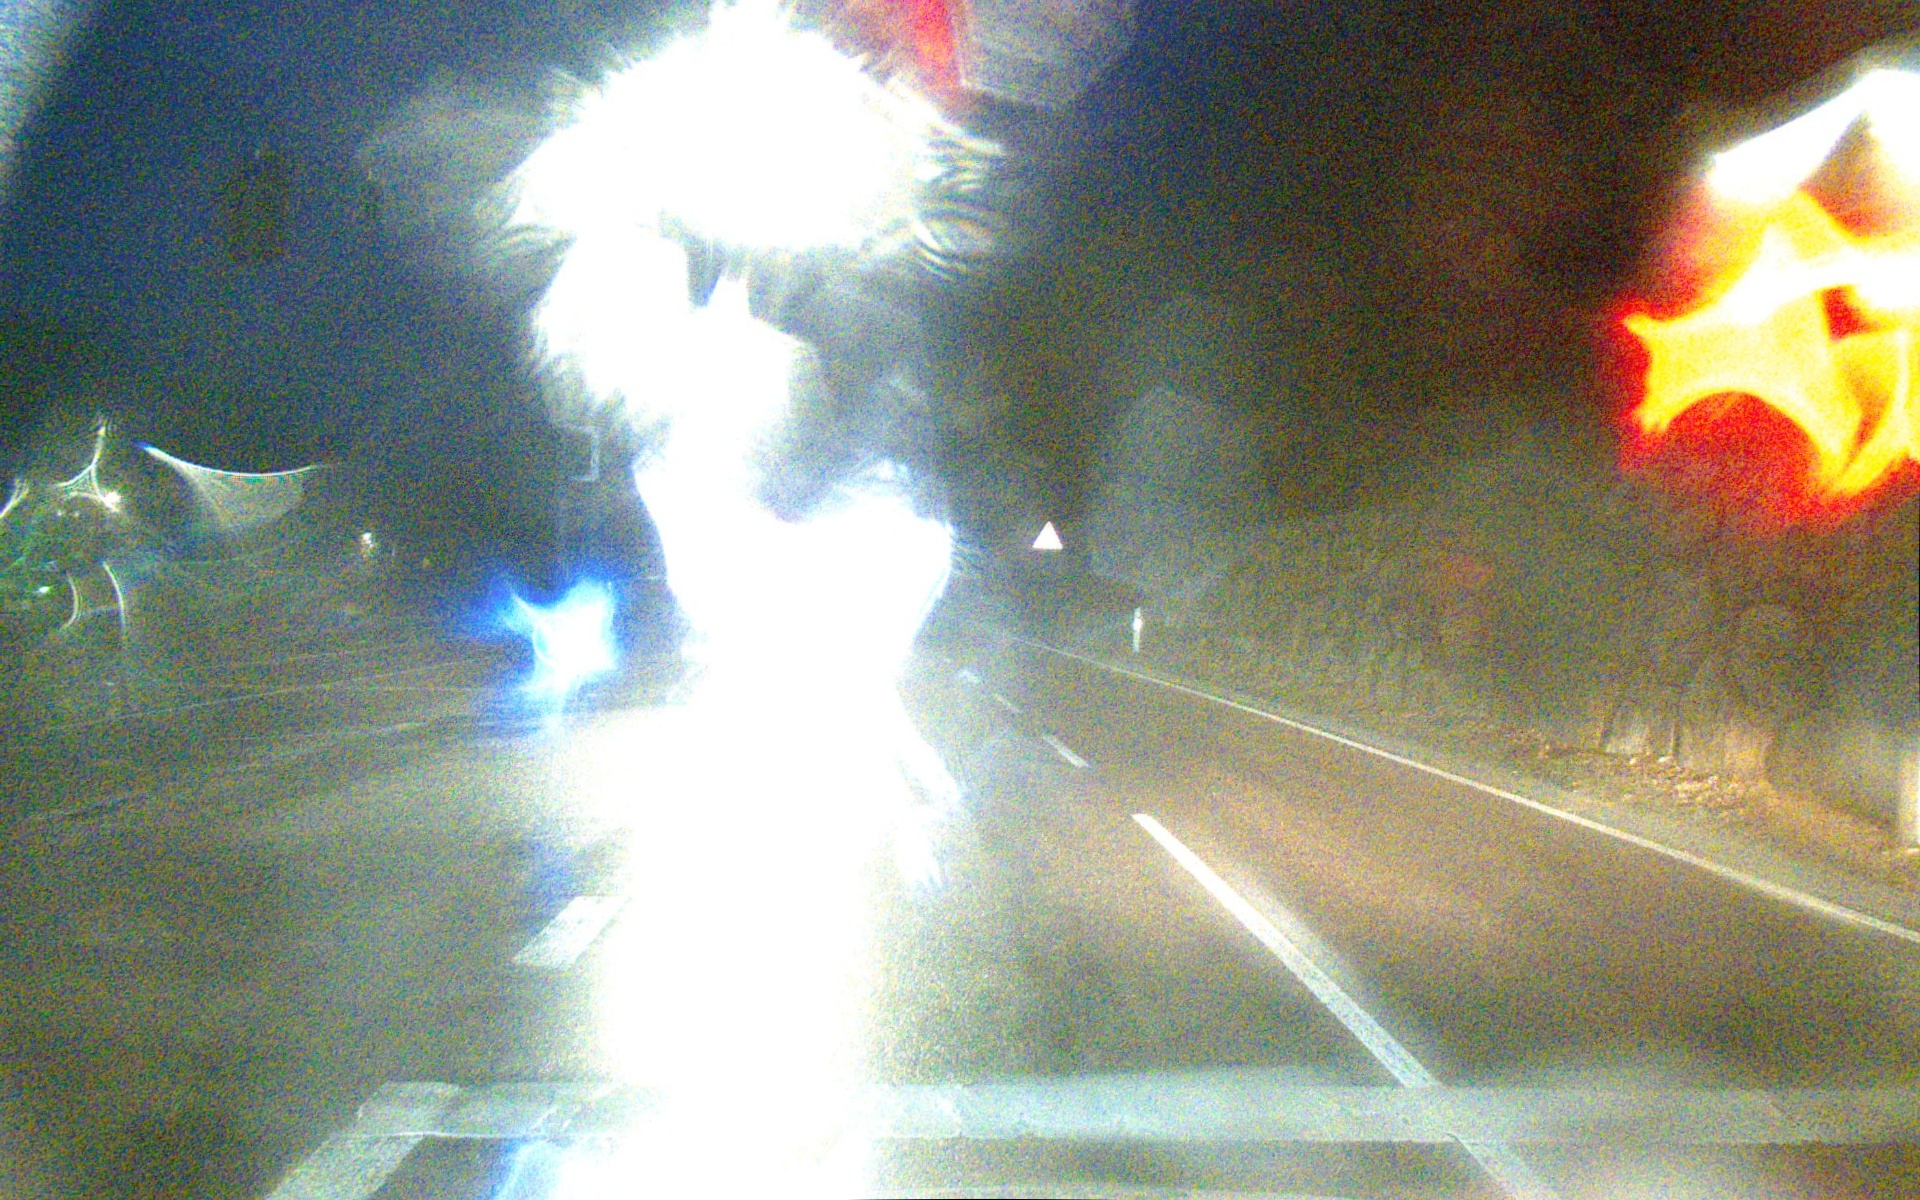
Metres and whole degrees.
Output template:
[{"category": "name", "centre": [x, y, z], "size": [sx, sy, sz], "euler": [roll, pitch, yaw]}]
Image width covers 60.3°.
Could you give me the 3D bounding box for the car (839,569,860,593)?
[{"category": "car", "centre": [-9.655, -1.624, 145.081], "size": [1.755, 2.057, 4.577], "euler": [1, 0, -3]}]
